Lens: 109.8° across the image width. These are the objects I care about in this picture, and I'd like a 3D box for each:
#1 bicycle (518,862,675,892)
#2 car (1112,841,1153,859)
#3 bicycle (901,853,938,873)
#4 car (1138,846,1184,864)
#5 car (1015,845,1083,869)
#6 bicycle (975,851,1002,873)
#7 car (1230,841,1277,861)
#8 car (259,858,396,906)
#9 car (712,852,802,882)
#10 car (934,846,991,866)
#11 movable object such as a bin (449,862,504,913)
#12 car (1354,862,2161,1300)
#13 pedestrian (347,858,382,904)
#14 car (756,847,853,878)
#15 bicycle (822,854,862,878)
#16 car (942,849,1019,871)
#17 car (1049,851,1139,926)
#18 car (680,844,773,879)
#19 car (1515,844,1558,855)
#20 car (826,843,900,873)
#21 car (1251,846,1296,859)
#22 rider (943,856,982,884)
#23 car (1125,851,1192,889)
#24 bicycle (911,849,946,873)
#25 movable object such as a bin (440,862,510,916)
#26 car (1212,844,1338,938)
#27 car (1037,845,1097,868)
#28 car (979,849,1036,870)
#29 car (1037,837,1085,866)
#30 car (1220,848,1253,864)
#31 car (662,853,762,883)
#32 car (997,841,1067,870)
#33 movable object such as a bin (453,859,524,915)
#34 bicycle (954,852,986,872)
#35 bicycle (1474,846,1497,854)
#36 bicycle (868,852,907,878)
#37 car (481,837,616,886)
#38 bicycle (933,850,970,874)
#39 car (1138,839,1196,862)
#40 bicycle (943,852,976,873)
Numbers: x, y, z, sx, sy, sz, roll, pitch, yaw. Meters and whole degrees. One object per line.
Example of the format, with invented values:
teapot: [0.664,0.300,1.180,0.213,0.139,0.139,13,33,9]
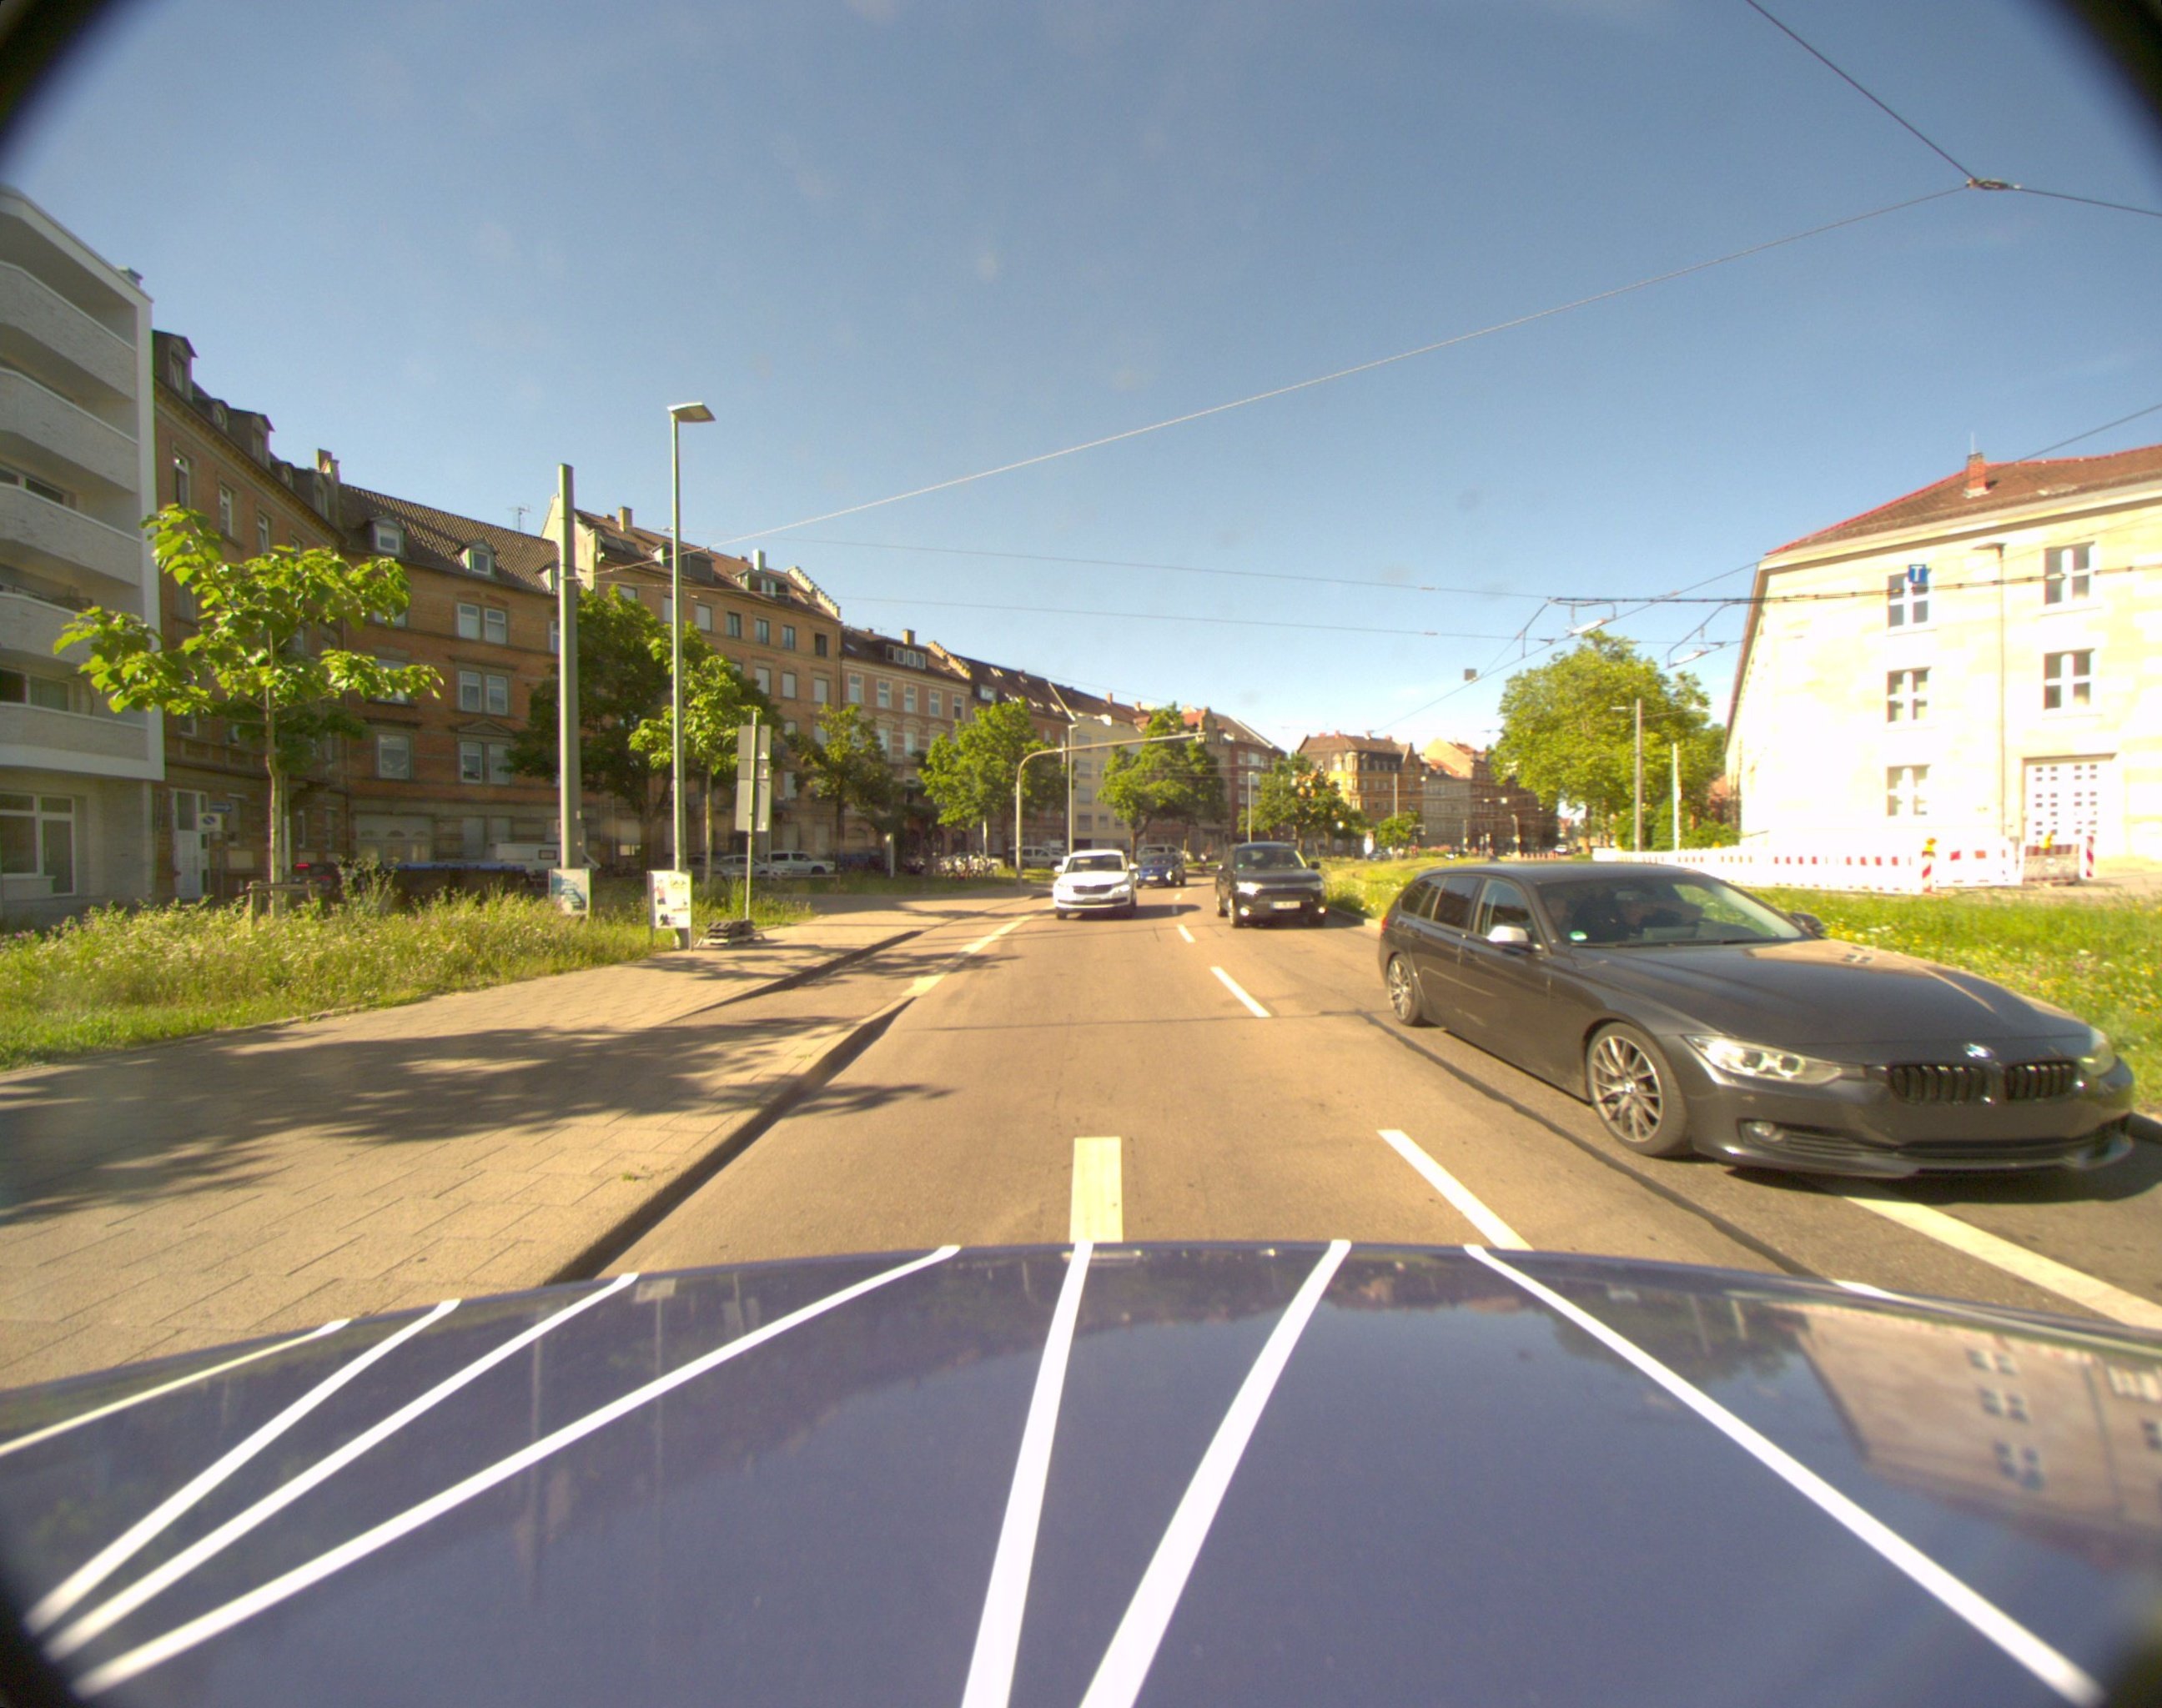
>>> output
bicycle: [-21.387,0.955,33.769,2.676,1.120,5.232,-1,0,34]
car: [5.510,-0.403,80.497,1.994,1.789,4.636,2,1,39]
bicycle: [-9.468,0.543,44.553,2.163,1.151,0.824,-1,1,35]
car: [7.087,0.071,67.663,4.025,1.470,1.813,1,2,5]
car: [-2.444,0.200,58.225,4.872,1.639,2.102,1,2,10]
bicycle: [-5.516,0.497,45.287,1.598,1.282,0.769,0,1,-11]
car: [19.085,-0.342,84.180,4.875,2.063,2.021,1,1,4]
car: [-26.008,0.908,26.423,2.002,1.428,4.099,-2,1,-24]
car: [-16.364,0.630,38.458,3.838,1.433,1.761,-1,0,8]
car: [-9.588,0.171,61.906,1.994,1.520,4.522,2,1,35]
movable object such as a bin: [-17.188,0.926,21.635,1.092,1.390,1.029,-1,1,-31]
car: [3.472,0.847,4.975,1.738,1.415,4.467,-4,0,1]
pedestrian: [-24.875,0.924,26.388,0.641,1.568,0.773,0,1,39]
car: [-14.797,0.440,40.805,4.464,1.556,1.939,-1,0,8]
bicycle: [-14.116,0.683,44.983,2.099,1.357,0.787,-1,1,-2]
car: [-6.696,0.390,50.831,4.747,1.372,2.047,-1,0,5]
car: [0.460,0.781,19.221,1.800,1.626,4.396,-1,1,7]
car: [-21.560,0.423,46.370,1.994,1.966,4.734,2,1,39]
car: [64.179,-0.614,107.147,1.839,1.445,4.946,-1,1,-38]
car: [-15.367,0.264,53.679,1.994,1.966,4.734,2,1,39]
car: [22.763,-0.210,89.953,4.874,1.427,2.021,1,1,6]
rider: [-5.631,0.745,36.167,1.678,1.169,0.502,-5,3,-34]
car: [3.643,0.707,35.011,1.995,1.608,4.269,-1,0,21]
bicycle: [-9.116,0.419,45.459,2.094,1.357,0.789,-1,1,34]
movable object such as a bin: [-16.401,0.913,20.620,1.323,1.390,1.108,-1,1,-31]
car: [3.920,0.669,16.145,1.840,1.672,4.644,-2,0,5]
car: [-1.090,0.214,60.920,4.505,1.718,2.001,1,2,10]
car: [-5.113,0.391,53.156,3.610,1.372,1.926,-1,0,6]
car: [-1.839,-0.237,71.384,1.994,2.570,4.522,2,1,40]
car: [20.102,0.259,98.121,1.996,1.464,4.497,-12,-4,42]
car: [-17.591,0.664,36.306,4.049,1.329,1.841,-1,0,15]
car: [-3.573,0.096,55.752,4.874,2.002,2.101,1,2,5]
movable object such as a bin: [-15.475,0.825,19.886,1.306,1.390,1.069,-1,1,-31]
bicycle: [-6.843,0.480,46.806,1.945,1.174,0.902,1,2,38]
bicycle: [74.014,-0.748,139.120,1.965,1.408,6.841,0,1,43]
bicycle: [-10.858,0.607,42.609,2.094,1.390,0.789,-1,1,28]
car: [-27.044,0.331,38.775,2.349,2.344,5.199,2,1,40]
bicycle: [-7.467,0.455,43.642,2.094,1.357,0.789,-1,1,34]
car: [7.934,-0.325,70.242,5.179,2.002,2.102,1,2,10]
bicycle: [-7.373,0.496,46.044,1.958,1.185,0.843,2,2,39]
